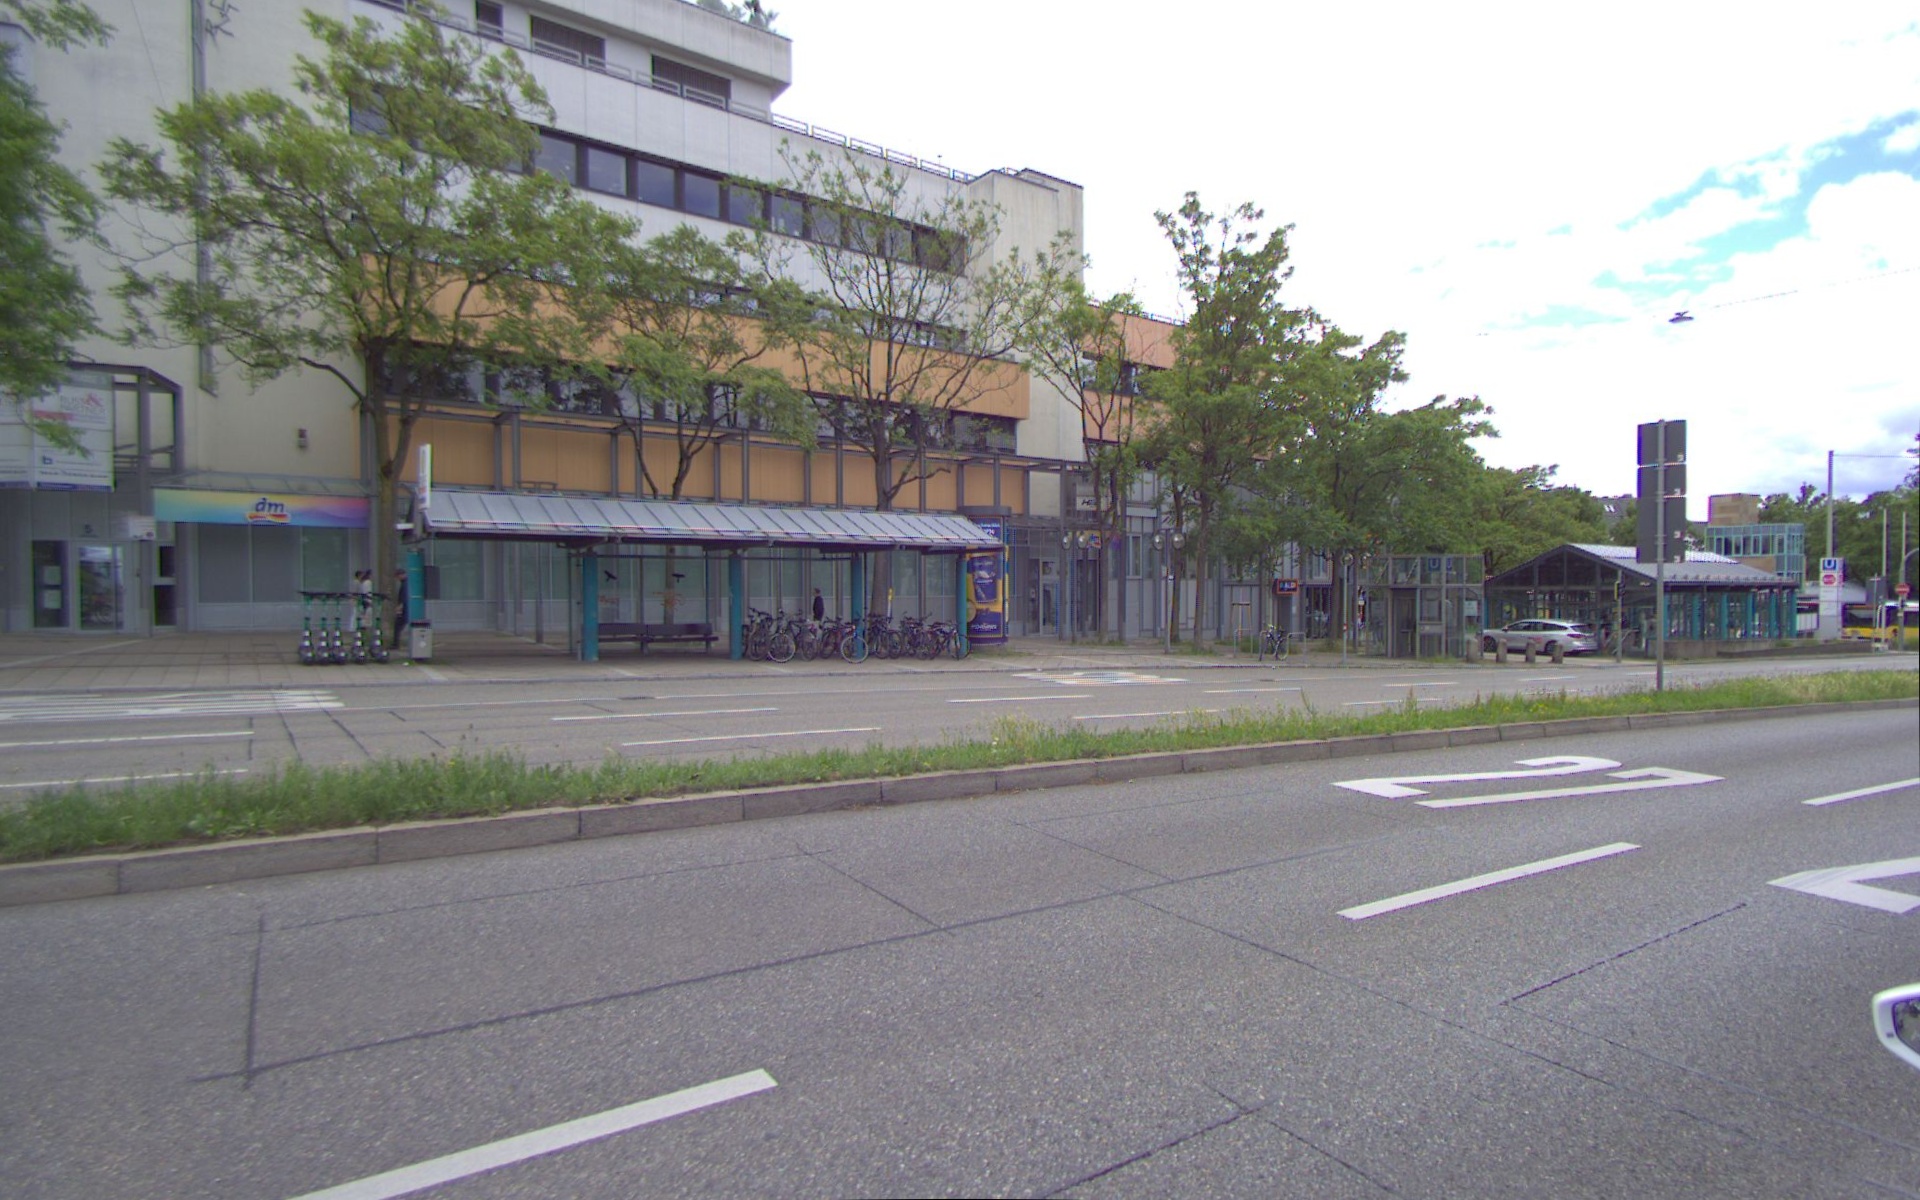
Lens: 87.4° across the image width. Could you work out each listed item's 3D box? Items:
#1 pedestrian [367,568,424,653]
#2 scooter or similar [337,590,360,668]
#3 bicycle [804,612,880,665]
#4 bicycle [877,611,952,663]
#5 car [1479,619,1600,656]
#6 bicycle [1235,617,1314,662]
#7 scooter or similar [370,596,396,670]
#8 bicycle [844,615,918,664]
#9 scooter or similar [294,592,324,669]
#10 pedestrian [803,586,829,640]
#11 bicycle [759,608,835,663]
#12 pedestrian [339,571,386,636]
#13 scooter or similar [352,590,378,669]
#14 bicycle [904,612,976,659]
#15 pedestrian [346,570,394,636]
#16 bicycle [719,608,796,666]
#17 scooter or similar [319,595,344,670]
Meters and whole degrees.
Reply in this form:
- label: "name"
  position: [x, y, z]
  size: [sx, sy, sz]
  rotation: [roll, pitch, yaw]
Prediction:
- label: "pedestrian"
  position: [-12.180, 0.228, 21.675]
  size: [0.987, 1.805, 0.728]
  rotation: [1, 0, -35]
- label: "scooter or similar"
  position: [-11.287, 0.520, 18.536]
  size: [0.220, 1.403, 1.192]
  rotation: [1, 0, -37]
- label: "bicycle"
  position: [-2.896, 0.911, 24.466]
  size: [2.043, 1.169, 0.707]
  rotation: [3, 1, 44]
- label: "bicycle"
  position: [-1.205, 0.947, 26.282]
  size: [2.043, 1.169, 0.707]
  rotation: [6, 3, 44]
- label: "car"
  position: [23.977, 1.502, 41.649]
  size: [1.985, 1.372, 3.951]
  rotation: [1, 0, -42]
- label: "bicycle"
  position: [9.766, 1.210, 31.189]
  size: [2.400, 1.288, 1.045]
  rotation: [1, 2, -35]
- label: "scooter or similar"
  position: [-10.877, 0.603, 18.926]
  size: [0.257, 1.338, 1.192]
  rotation: [1, 0, -37]
- label: "bicycle"
  position: [-2.026, 0.990, 25.611]
  size: [2.043, 1.169, 0.707]
  rotation: [1, 0, 44]
- label: "scooter or similar"
  position: [-11.723, 0.529, 18.069]
  size: [0.336, 1.286, 1.311]
  rotation: [1, 2, -37]
- label: "pedestrian"
  position: [-4.522, 0.407, 31.531]
  size: [0.667, 1.665, 0.529]
  rotation: [1, 0, -30]
- label: "bicycle"
  position: [-3.950, 0.837, 24.232]
  size: [2.043, 1.169, 0.707]
  rotation: [4, 2, 44]
- label: "pedestrian"
  position: [-15.434, 0.102, 25.938]
  size: [0.987, 1.639, 0.728]
  rotation: [1, 0, -35]
- label: "scooter or similar"
  position: [-11.110, 0.536, 18.745]
  size: [0.257, 1.442, 1.192]
  rotation: [1, 0, -37]
- label: "bicycle"
  position: [-0.558, 0.936, 27.010]
  size: [2.043, 1.169, 0.707]
  rotation: [2, 1, 44]
- label: "pedestrian"
  position: [-14.891, 0.086, 25.355]
  size: [0.987, 1.639, 0.728]
  rotation: [1, 0, -35]
- label: "bicycle"
  position: [-4.737, 0.843, 23.390]
  size: [2.043, 1.169, 0.707]
  rotation: [5, 3, 44]
- label: "scooter or similar"
  position: [-11.475, 0.576, 18.334]
  size: [0.265, 1.312, 1.118]
  rotation: [1, 0, -38]
